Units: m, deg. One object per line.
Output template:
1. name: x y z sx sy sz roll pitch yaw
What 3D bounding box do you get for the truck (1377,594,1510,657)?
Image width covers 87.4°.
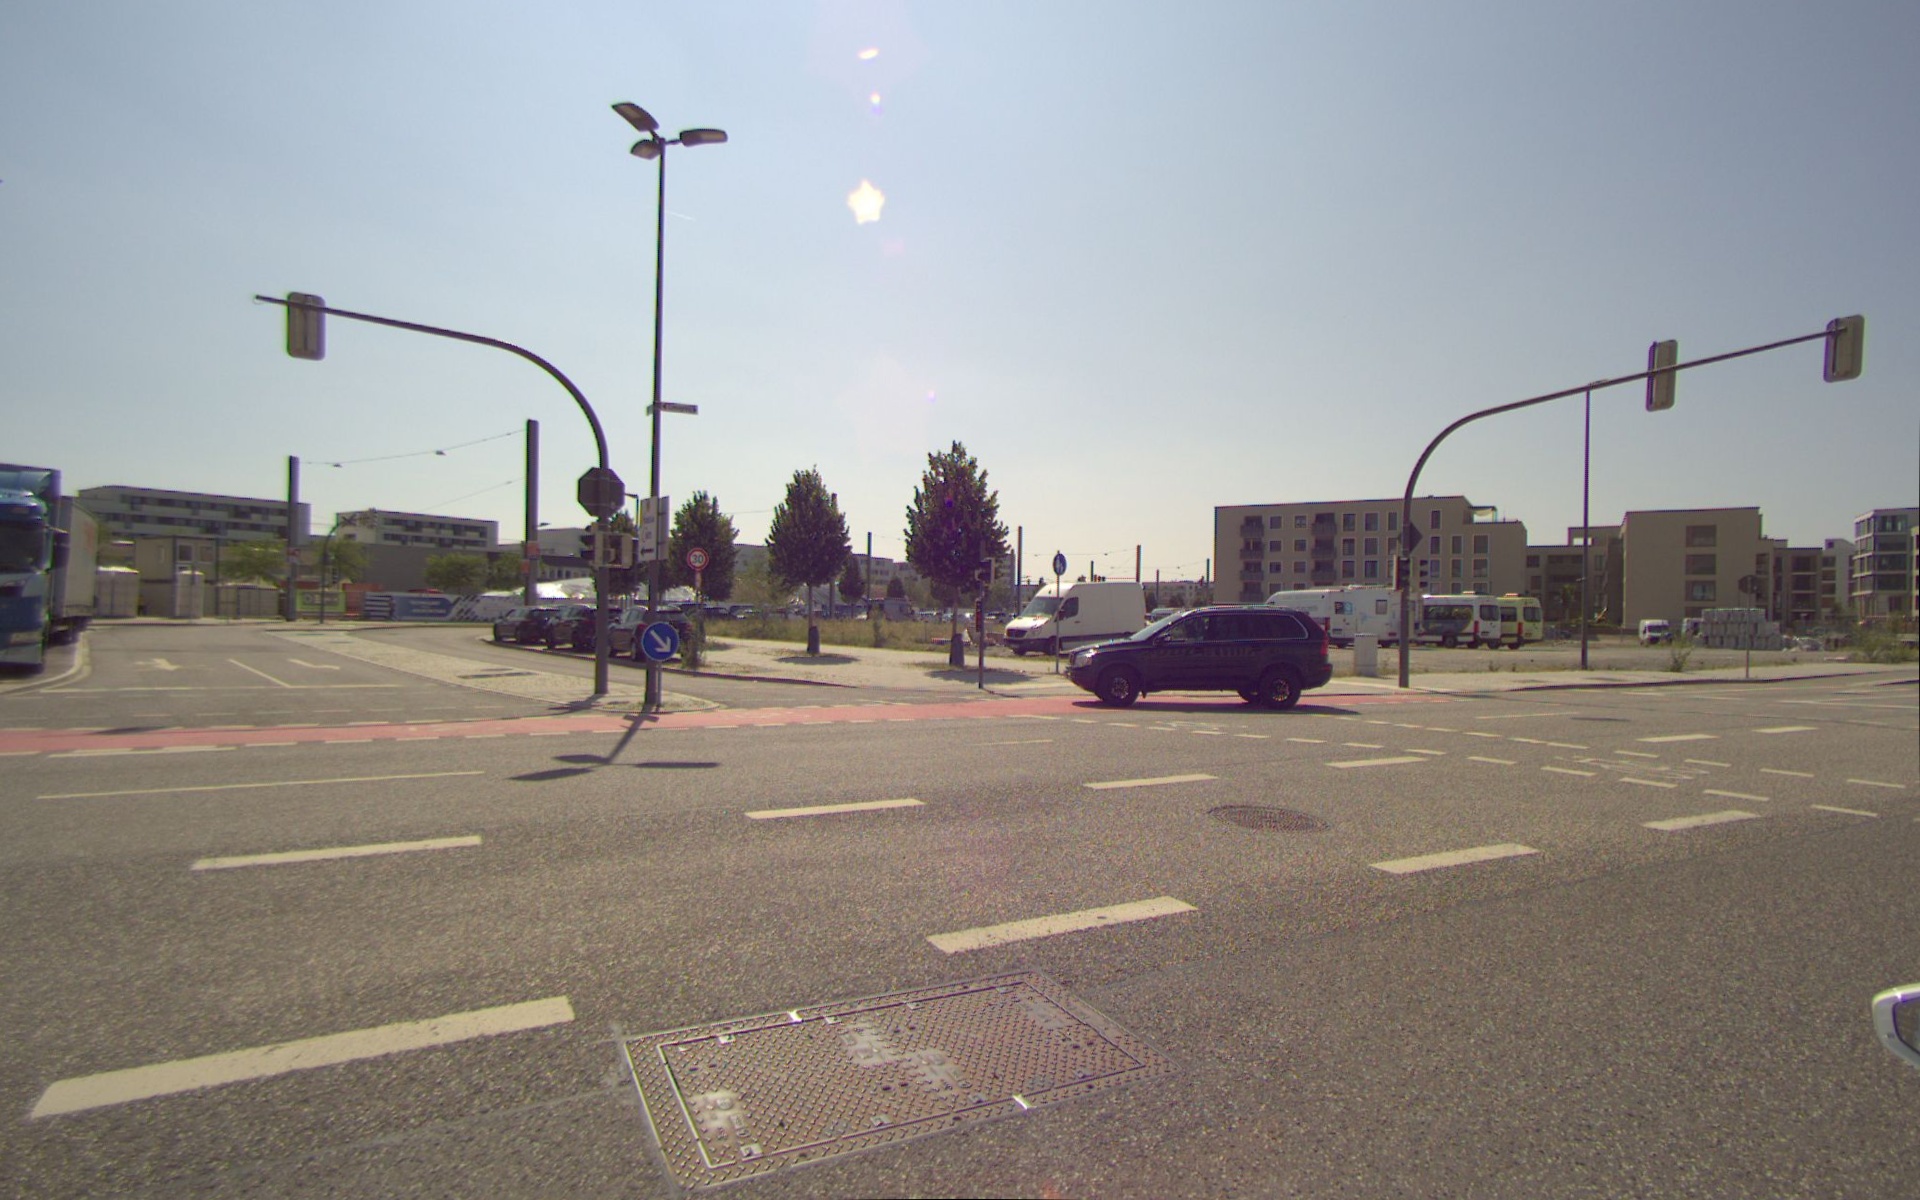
1. truck: 24.795 1.252 51.827 2.535 2.862 5.819 3 1 -24

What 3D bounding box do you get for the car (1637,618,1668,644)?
1. car: 65.429 2.932 94.930 1.964 2.271 3.992 2 0 30

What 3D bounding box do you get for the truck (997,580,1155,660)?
1. truck: 4.299 0.764 36.561 5.892 2.690 2.150 2 -1 -37

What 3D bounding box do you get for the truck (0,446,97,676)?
1. truck: -21.106 -0.895 21.801 3.278 4.121 10.844 3 0 -42

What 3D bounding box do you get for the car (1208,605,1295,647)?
1. car: 13.482 1.175 46.699 1.637 1.782 3.849 1 0 -28

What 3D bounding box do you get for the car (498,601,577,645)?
1. car: -16.942 0.879 40.212 1.865 1.551 3.857 -1 2 -40

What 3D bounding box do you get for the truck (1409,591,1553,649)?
1. truck: 27.587 0.997 53.523 2.567 2.863 6.617 1 0 -24

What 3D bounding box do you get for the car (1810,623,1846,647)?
1. car: 74.939 2.988 86.759 1.967 1.873 3.986 2 0 36

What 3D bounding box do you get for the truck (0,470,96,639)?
1. truck: -28.120 -1.359 30.018 3.319 4.332 10.816 3 0 -41

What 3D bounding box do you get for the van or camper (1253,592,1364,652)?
1. van or camper: 16.587 0.986 48.050 2.229 2.697 4.885 1 0 -25

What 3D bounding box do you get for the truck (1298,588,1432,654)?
1. truck: 20.151 0.963 50.345 2.535 2.939 6.128 3 1 -24

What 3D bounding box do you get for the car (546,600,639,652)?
1. car: -13.155 0.893 35.823 1.865 1.662 3.954 2 0 -40

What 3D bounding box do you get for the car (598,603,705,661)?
1. car: -9.808 0.971 31.783 1.865 1.662 3.954 2 0 -40
